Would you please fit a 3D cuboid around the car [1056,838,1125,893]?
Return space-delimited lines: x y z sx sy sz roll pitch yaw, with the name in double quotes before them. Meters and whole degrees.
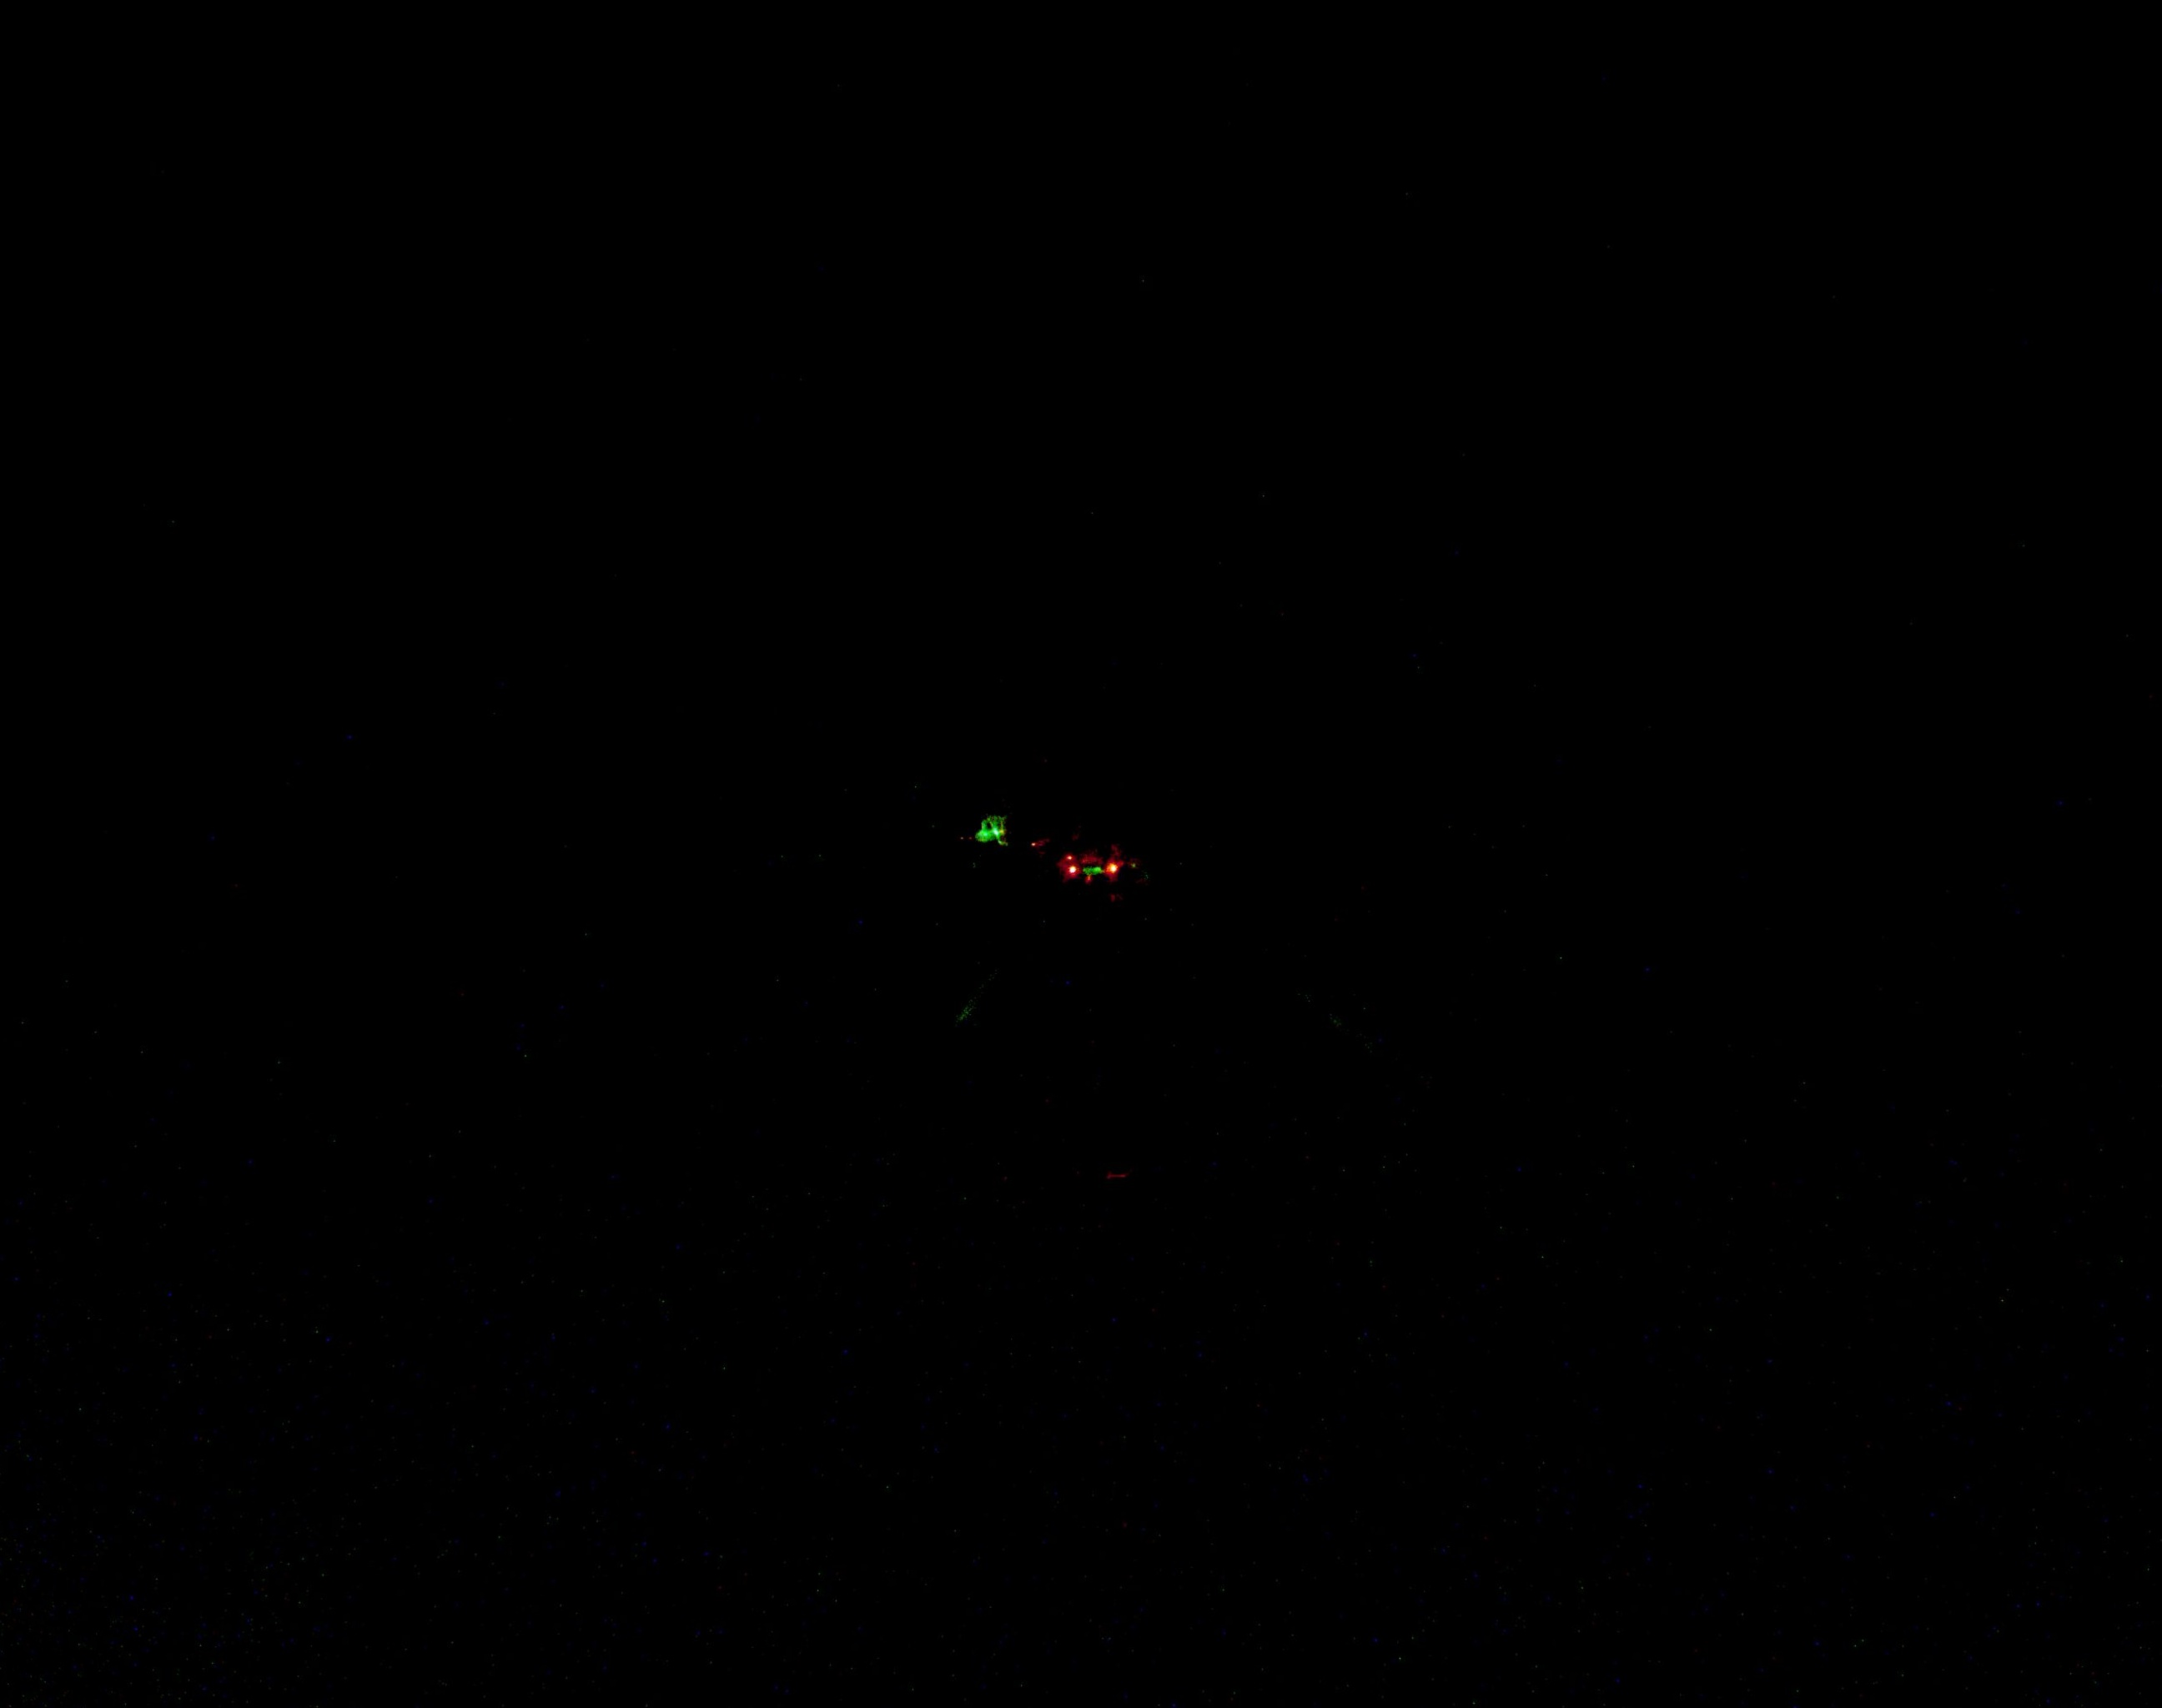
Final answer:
"car" 0.481 0.414 32.495 2.447 1.958 4.916 -2 0 3

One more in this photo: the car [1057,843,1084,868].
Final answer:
"car" -0.955 0.086 69.707 1.990 2.013 3.993 -2 0 -5
